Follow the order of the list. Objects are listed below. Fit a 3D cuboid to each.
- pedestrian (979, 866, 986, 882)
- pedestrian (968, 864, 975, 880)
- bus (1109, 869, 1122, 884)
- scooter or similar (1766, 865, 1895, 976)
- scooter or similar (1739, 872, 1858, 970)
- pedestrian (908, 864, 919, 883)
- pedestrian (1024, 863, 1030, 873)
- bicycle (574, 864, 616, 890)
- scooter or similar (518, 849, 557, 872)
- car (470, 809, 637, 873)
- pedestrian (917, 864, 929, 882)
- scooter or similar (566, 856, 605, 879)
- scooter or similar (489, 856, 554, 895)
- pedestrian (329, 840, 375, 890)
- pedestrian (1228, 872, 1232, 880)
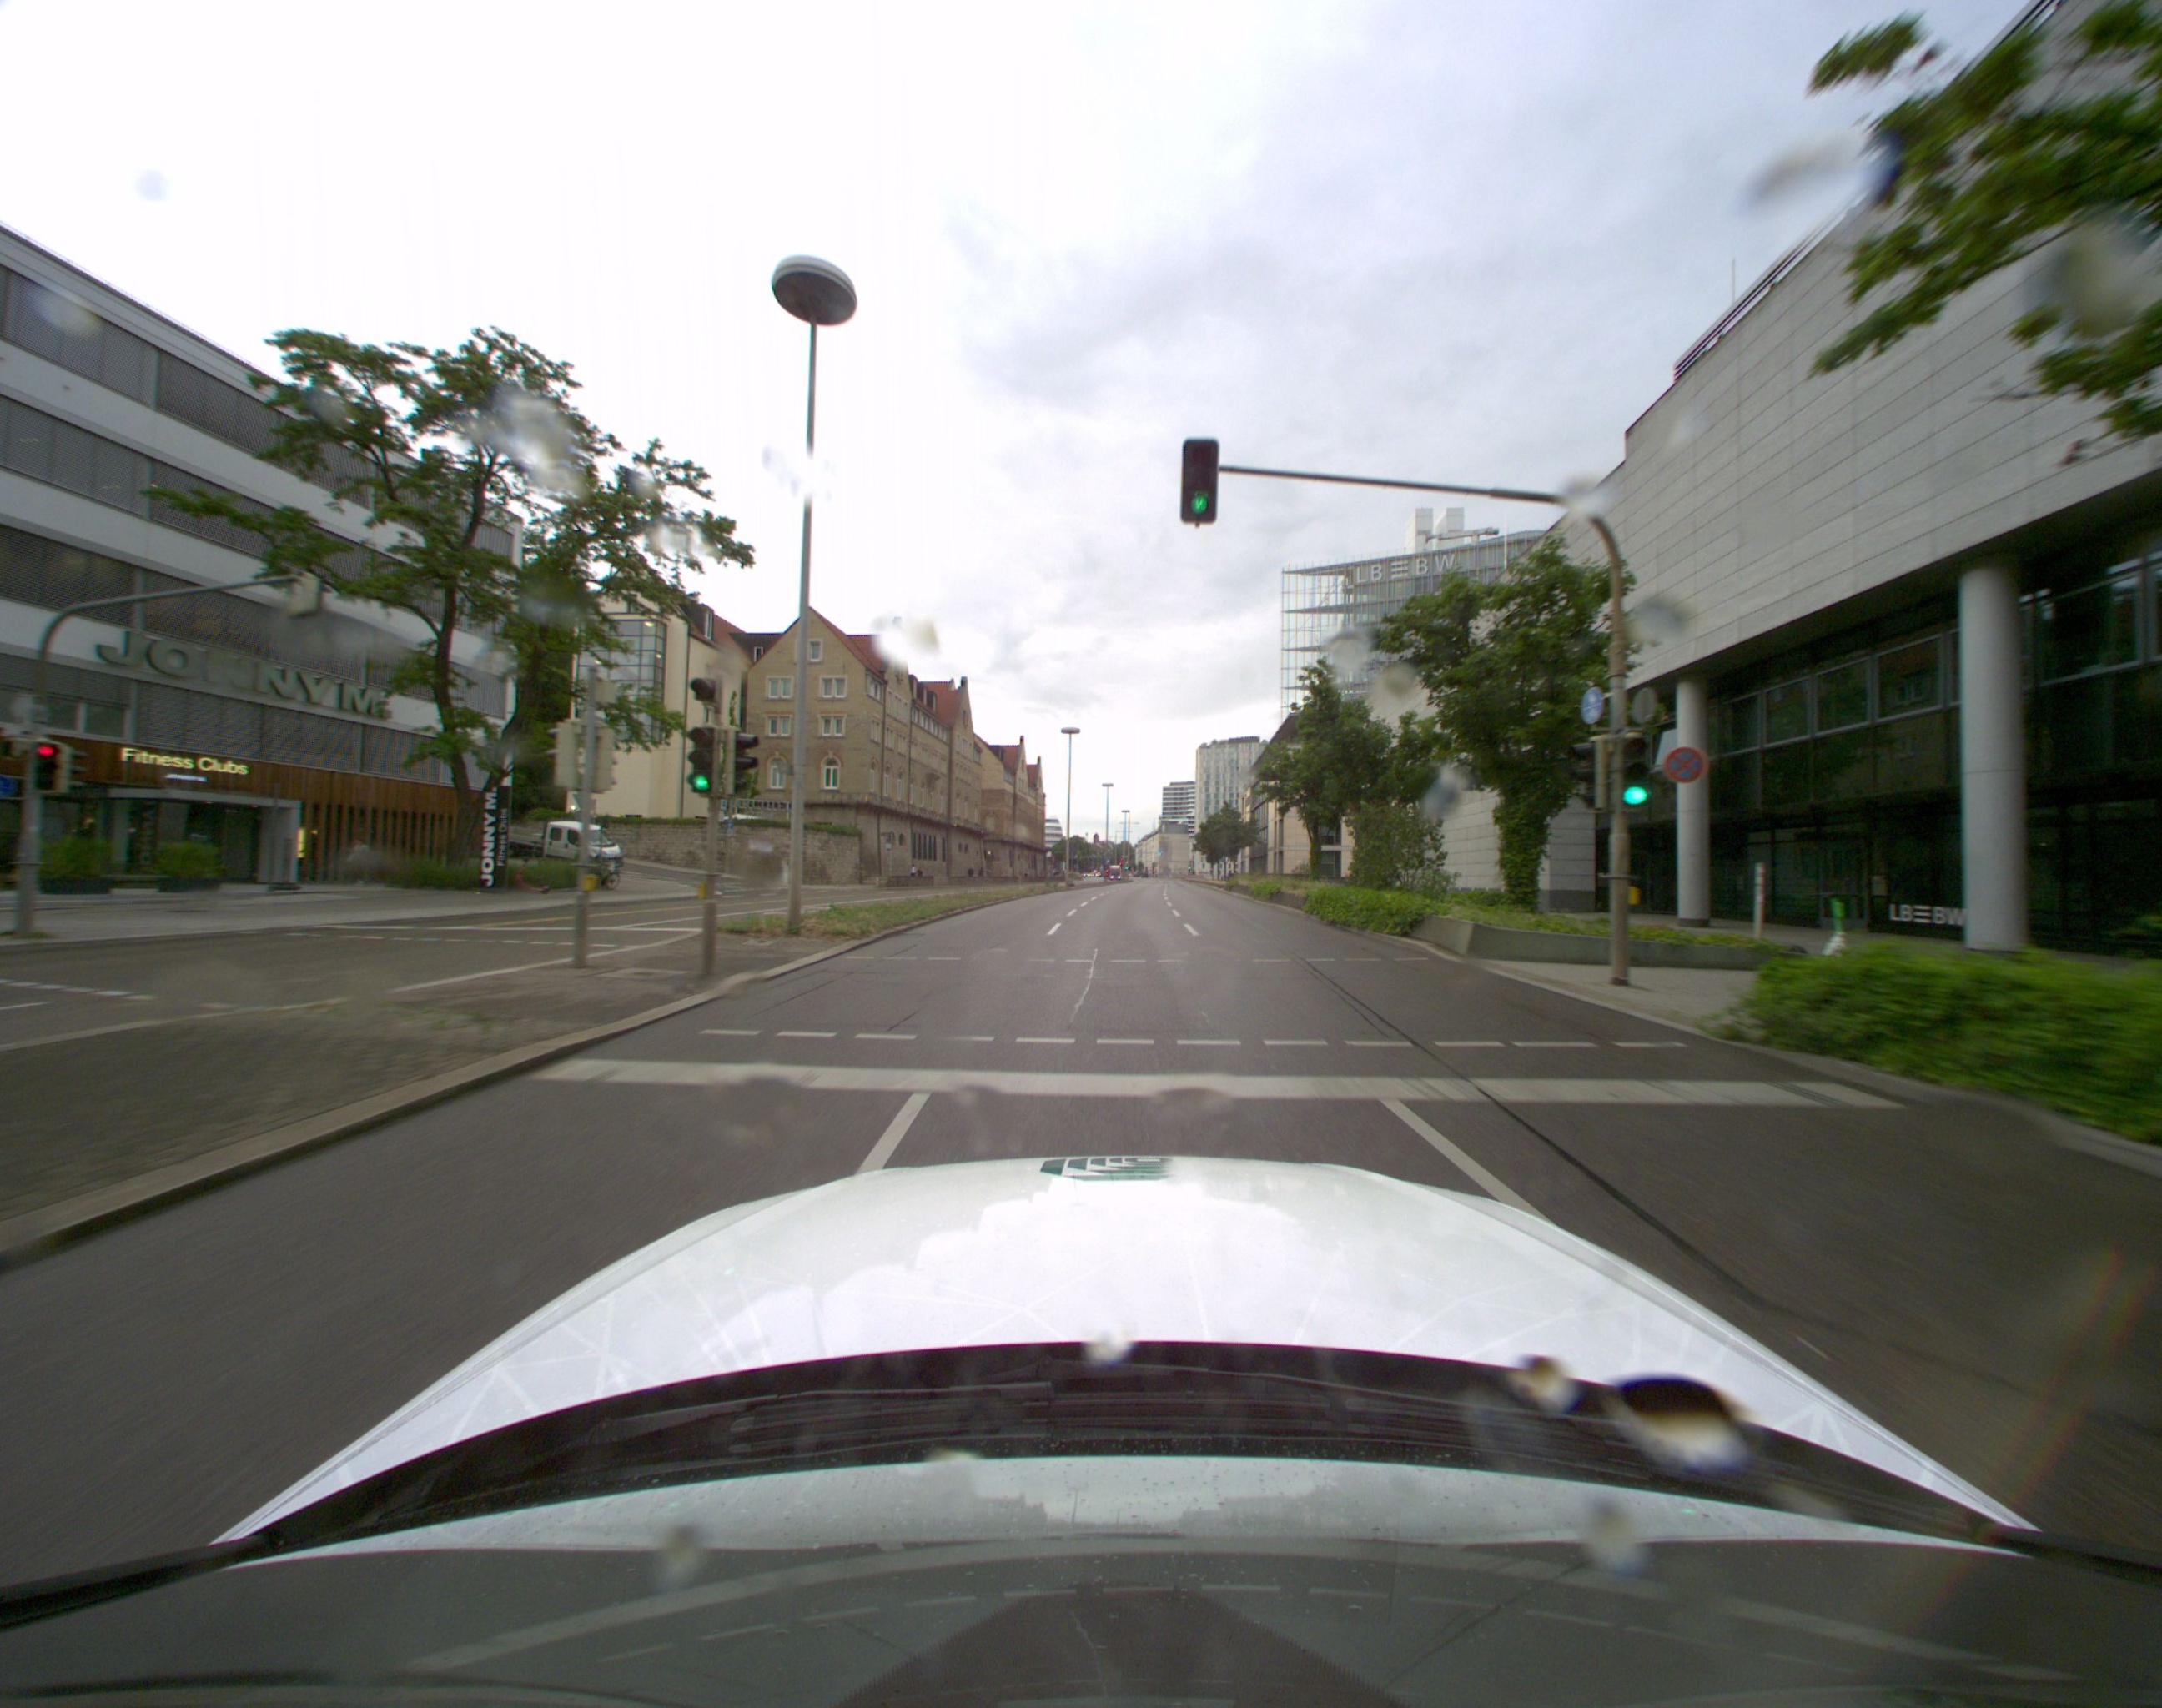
[{"bbox_3d":[-10.896,2.206,89.808,0.637,1.746,0.621,0,0,4],"label":"pedestrian"},{"bbox_3d":[-11.839,1.986,88.321,0.637,1.746,0.621,0,0,4],"label":"pedestrian"},{"bbox_3d":[8.542,5.554,201.168,2.685,3.560,10.107,0,-2,5],"label":"bus"},{"bbox_3d":[10.869,0.938,11.838,1.316,1.531,0.503,1,0,7],"label":"scooter or similar"},{"bbox_3d":[10.853,0.992,12.343,1.316,1.408,0.460,1,0,7],"label":"scooter or similar"},{"bbox_3d":[-13.824,1.611,67.213,0.750,1.478,0.715,0,0,5],"label":"pedestrian"},{"bbox_3d":[-8.103,2.129,122.852,0.750,1.478,0.715,0,0,5],"label":"pedestrian"},{"bbox_3d":[-19.360,0.896,32.459,0.454,0.991,1.761,1,-1,6],"label":"bicycle"},{"bbox_3d":[-25.003,0.299,37.481,1.462,0.921,0.444,5,0,3],"label":"scooter or similar"},{"bbox_3d":[-26.460,-0.699,40.975,6.868,2.275,2.519,7,3,6],"label":"car"},{"bbox_3d":[-13.012,1.590,67.167,0.750,1.478,0.715,0,0,5],"label":"pedestrian"},{"bbox_3d":[-22.523,0.619,37.020,1.462,0.921,0.444,5,0,3],"label":"scooter or similar"},{"bbox_3d":[-19.411,0.762,28.287,1.757,1.247,0.367,4,-2,-24],"label":"scooter or similar"},{"bbox_3d":[-24.390,0.374,27.261,0.764,1.641,0.843,0,0,5],"label":"pedestrian"},{"bbox_3d":[27.167,4.026,148.598,0.544,1.578,0.675,-1,-1,40],"label":"pedestrian"}]
